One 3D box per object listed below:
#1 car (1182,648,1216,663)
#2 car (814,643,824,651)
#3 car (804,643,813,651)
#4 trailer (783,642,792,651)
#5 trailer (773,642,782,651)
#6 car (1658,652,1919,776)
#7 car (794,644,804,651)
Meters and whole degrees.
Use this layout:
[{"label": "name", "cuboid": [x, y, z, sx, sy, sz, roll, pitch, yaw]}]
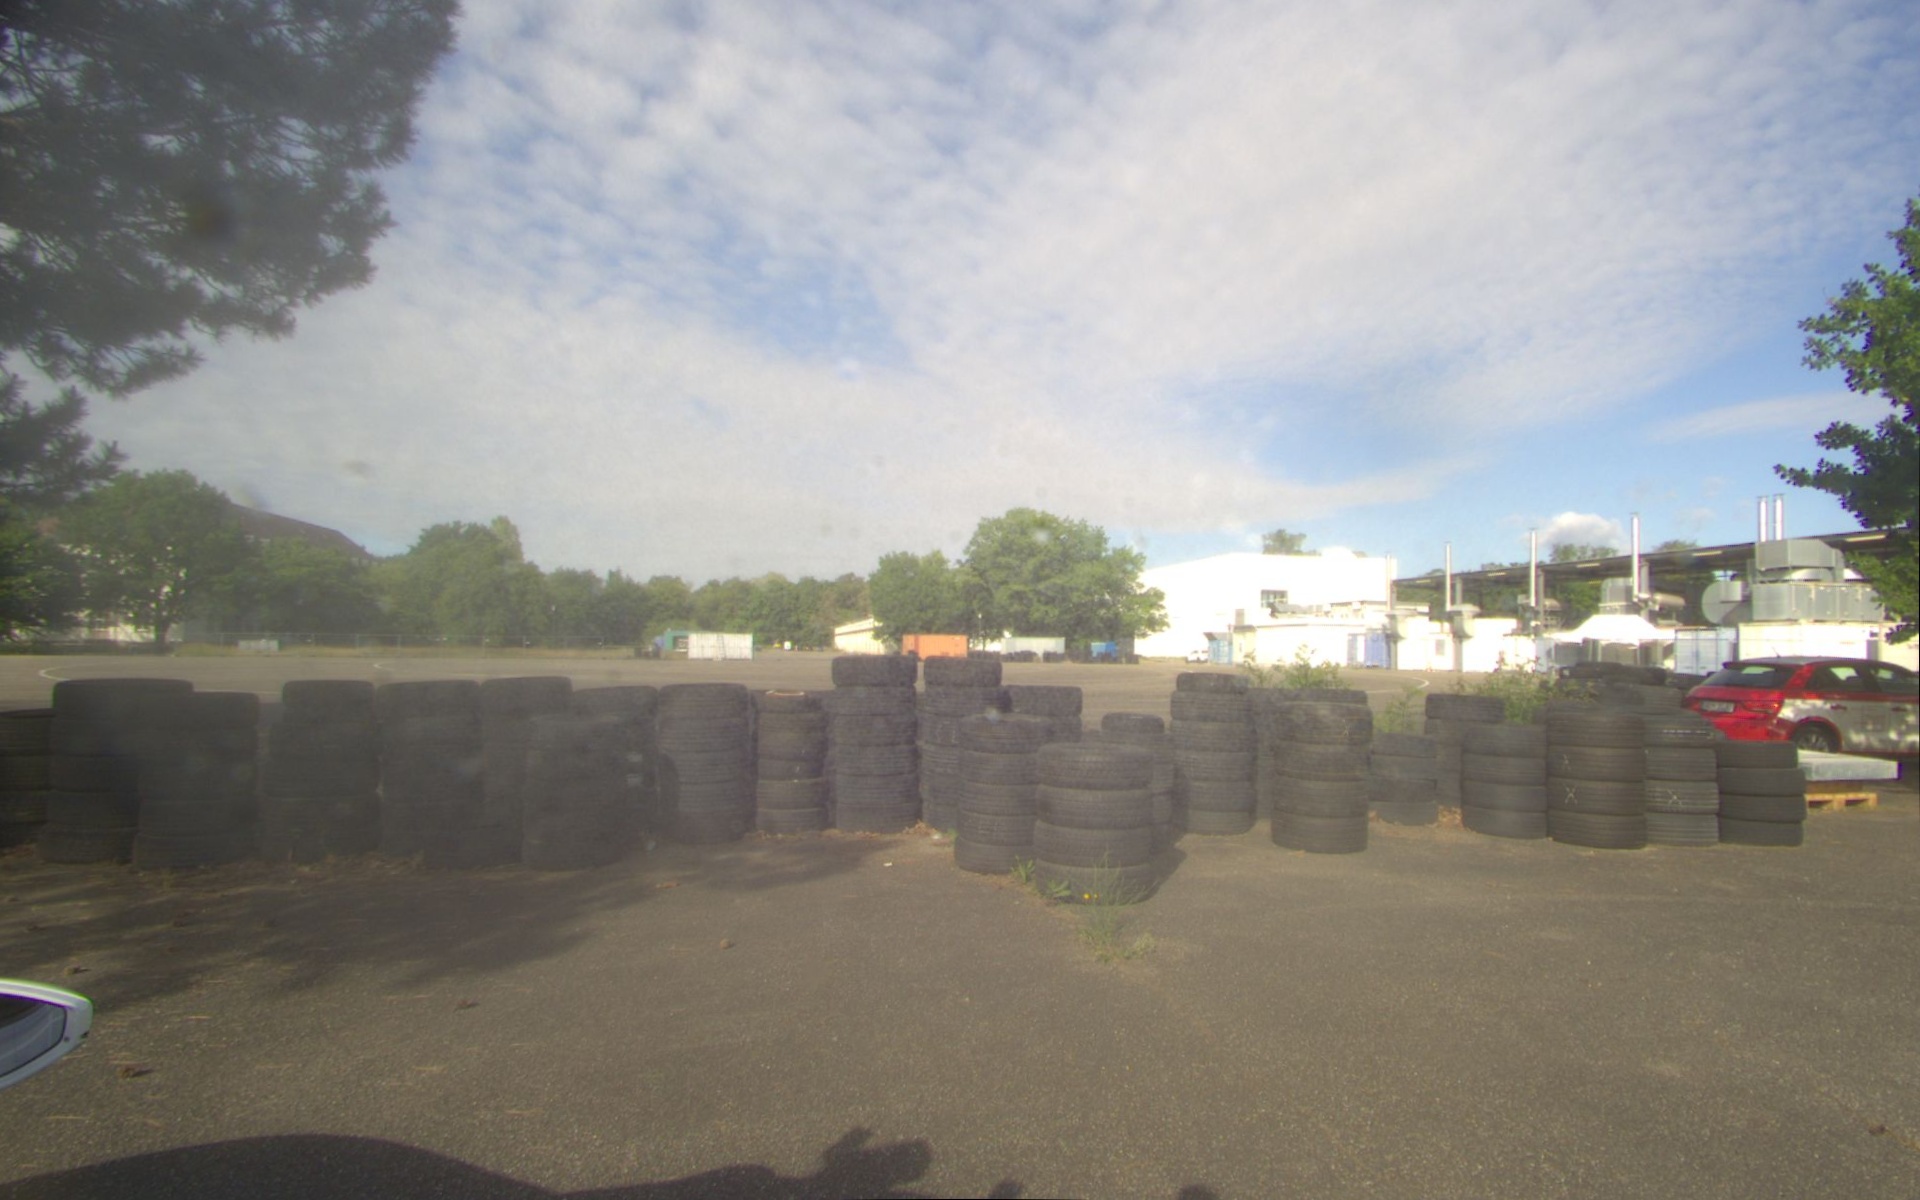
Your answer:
[{"label": "car", "cuboid": [25.707, 5.985, 107.849, 1.841, 1.584, 4.545, 1, -2, -13]}, {"label": "car", "cuboid": [-34.457, 11.491, 244.292, 1.964, 1.771, 3.997, 2, -3, -14]}, {"label": "car", "cuboid": [-36.908, 11.527, 243.791, 2.001, 1.831, 3.997, 1, -2, -14]}, {"label": "trailer", "cuboid": [-42.144, 11.361, 244.215, 2.027, 2.039, 3.998, 1, -3, -12]}, {"label": "trailer", "cuboid": [-44.780, 11.310, 245.046, 1.963, 2.039, 3.998, 1, -3, -13]}, {"label": "car", "cuboid": [11.773, 1.475, 13.293, 3.923, 1.482, 1.729, 1, -2, -5]}, {"label": "car", "cuboid": [-39.063, 11.495, 243.163, 1.964, 1.771, 3.997, 1, -3, -14]}]
